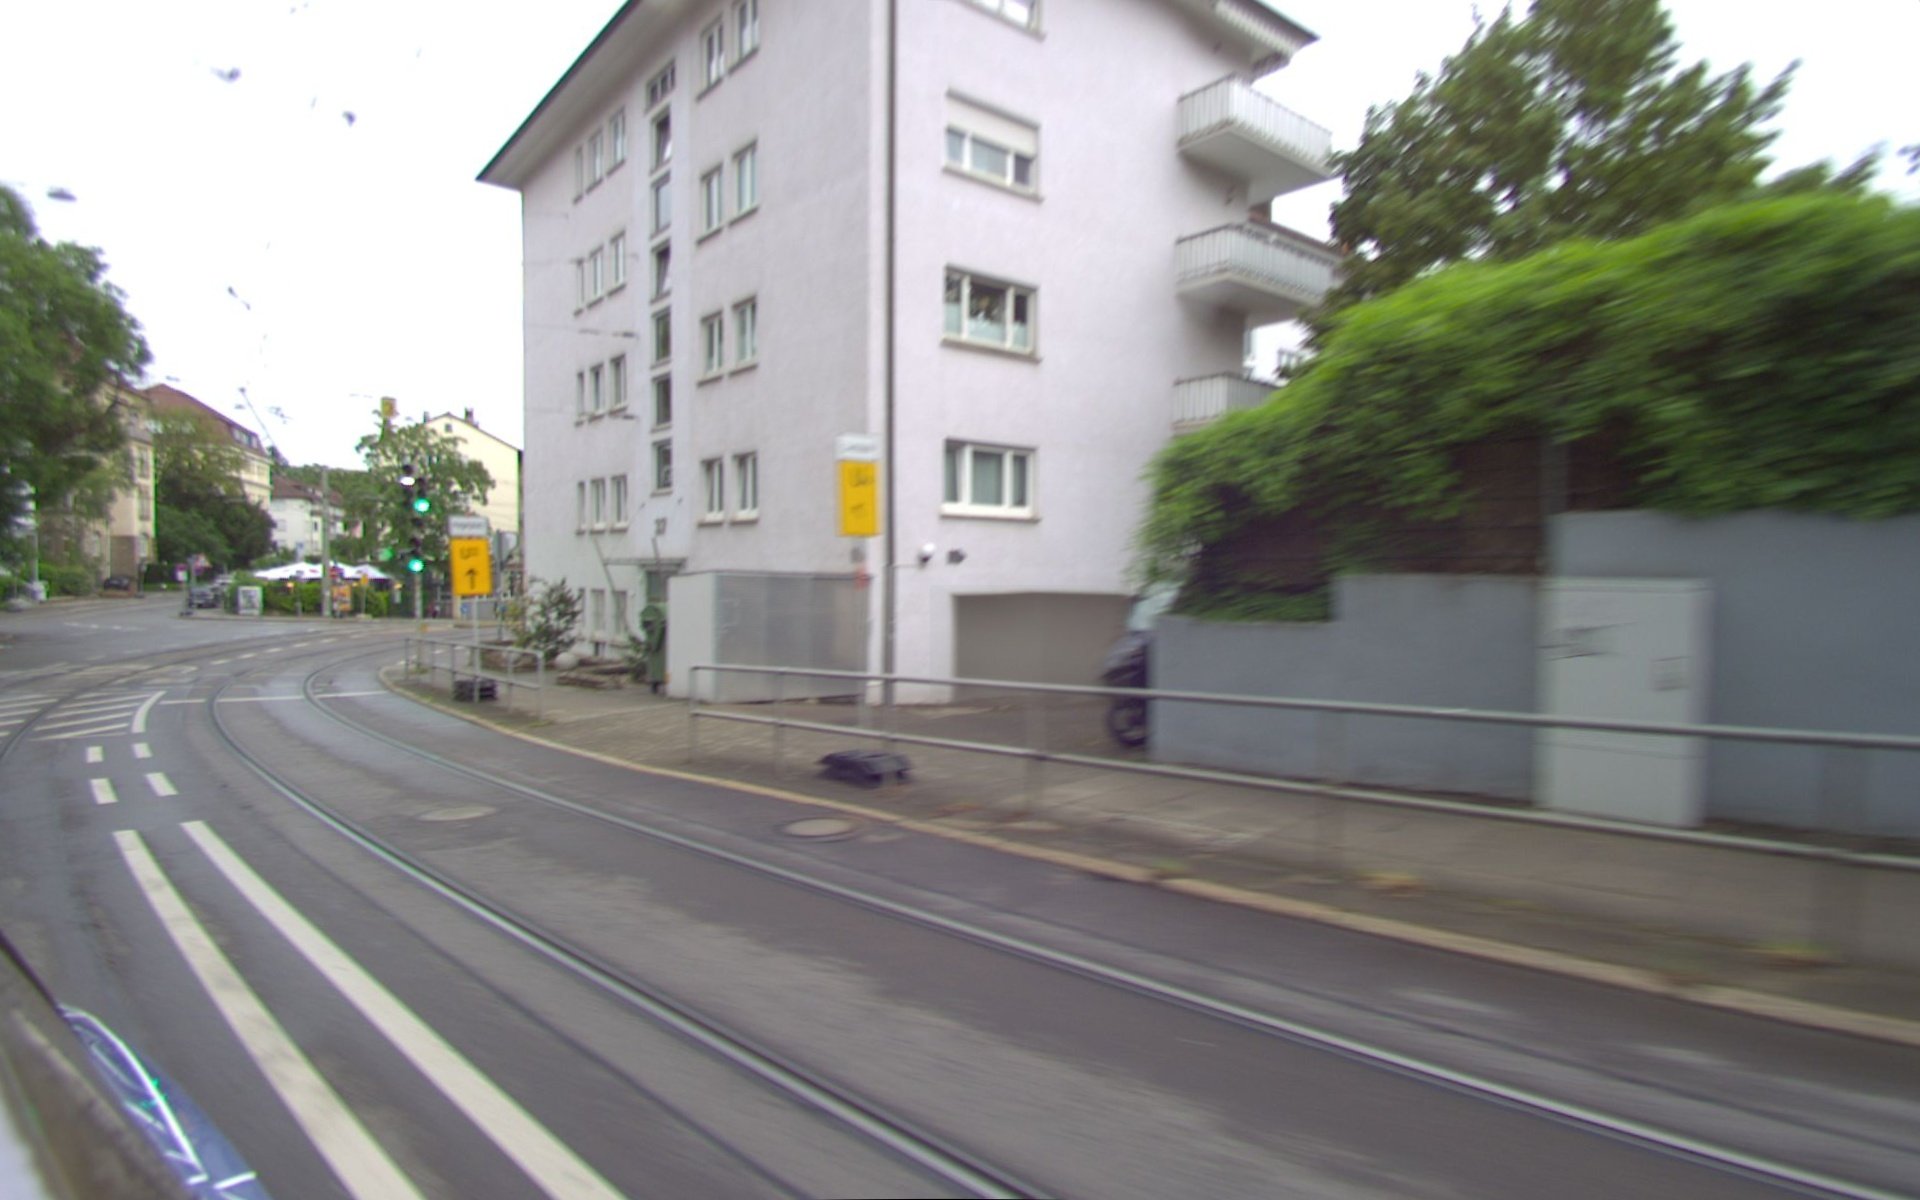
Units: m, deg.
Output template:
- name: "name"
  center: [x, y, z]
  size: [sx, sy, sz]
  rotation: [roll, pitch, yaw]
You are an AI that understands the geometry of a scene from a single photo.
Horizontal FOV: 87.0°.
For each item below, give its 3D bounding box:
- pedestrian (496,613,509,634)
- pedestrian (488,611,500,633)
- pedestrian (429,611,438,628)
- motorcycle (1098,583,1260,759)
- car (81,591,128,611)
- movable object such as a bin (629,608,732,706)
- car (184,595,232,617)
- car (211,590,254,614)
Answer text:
- name: "pedestrian"
  center: [-34.366, 1.744, 75.970]
  size: [0.582, 1.566, 0.649]
  rotation: [2, -3, 5]
- name: "pedestrian"
  center: [-35.085, 1.650, 76.199]
  size: [0.540, 1.566, 0.558]
  rotation: [2, -3, 3]
- name: "pedestrian"
  center: [-35.768, 1.344, 68.759]
  size: [0.321, 1.159, 0.317]
  rotation: [3, -3, 2]
- name: "motorcycle"
  center: [2.228, 0.677, 10.156]
  size: [1.899, 1.613, 0.597]
  rotation: [2, -4, -44]
- name: "car"
  center: [-65.408, 0.078, 77.455]
  size: [1.572, 1.351, 3.646]
  rotation: [0, -3, -20]
- name: "movable object such as a bin"
  center: [-4.456, 0.895, 16.107]
  size: [1.170, 1.473, 1.292]
  rotation: [2, -3, -39]
- name: "car"
  center: [-50.190, 0.395, 67.586]
  size: [1.664, 1.453, 3.817]
  rotation: [2, -1, -23]
- name: "car"
  center: [-53.084, 0.144, 73.900]
  size: [1.664, 1.703, 3.817]
  rotation: [2, -1, -23]
